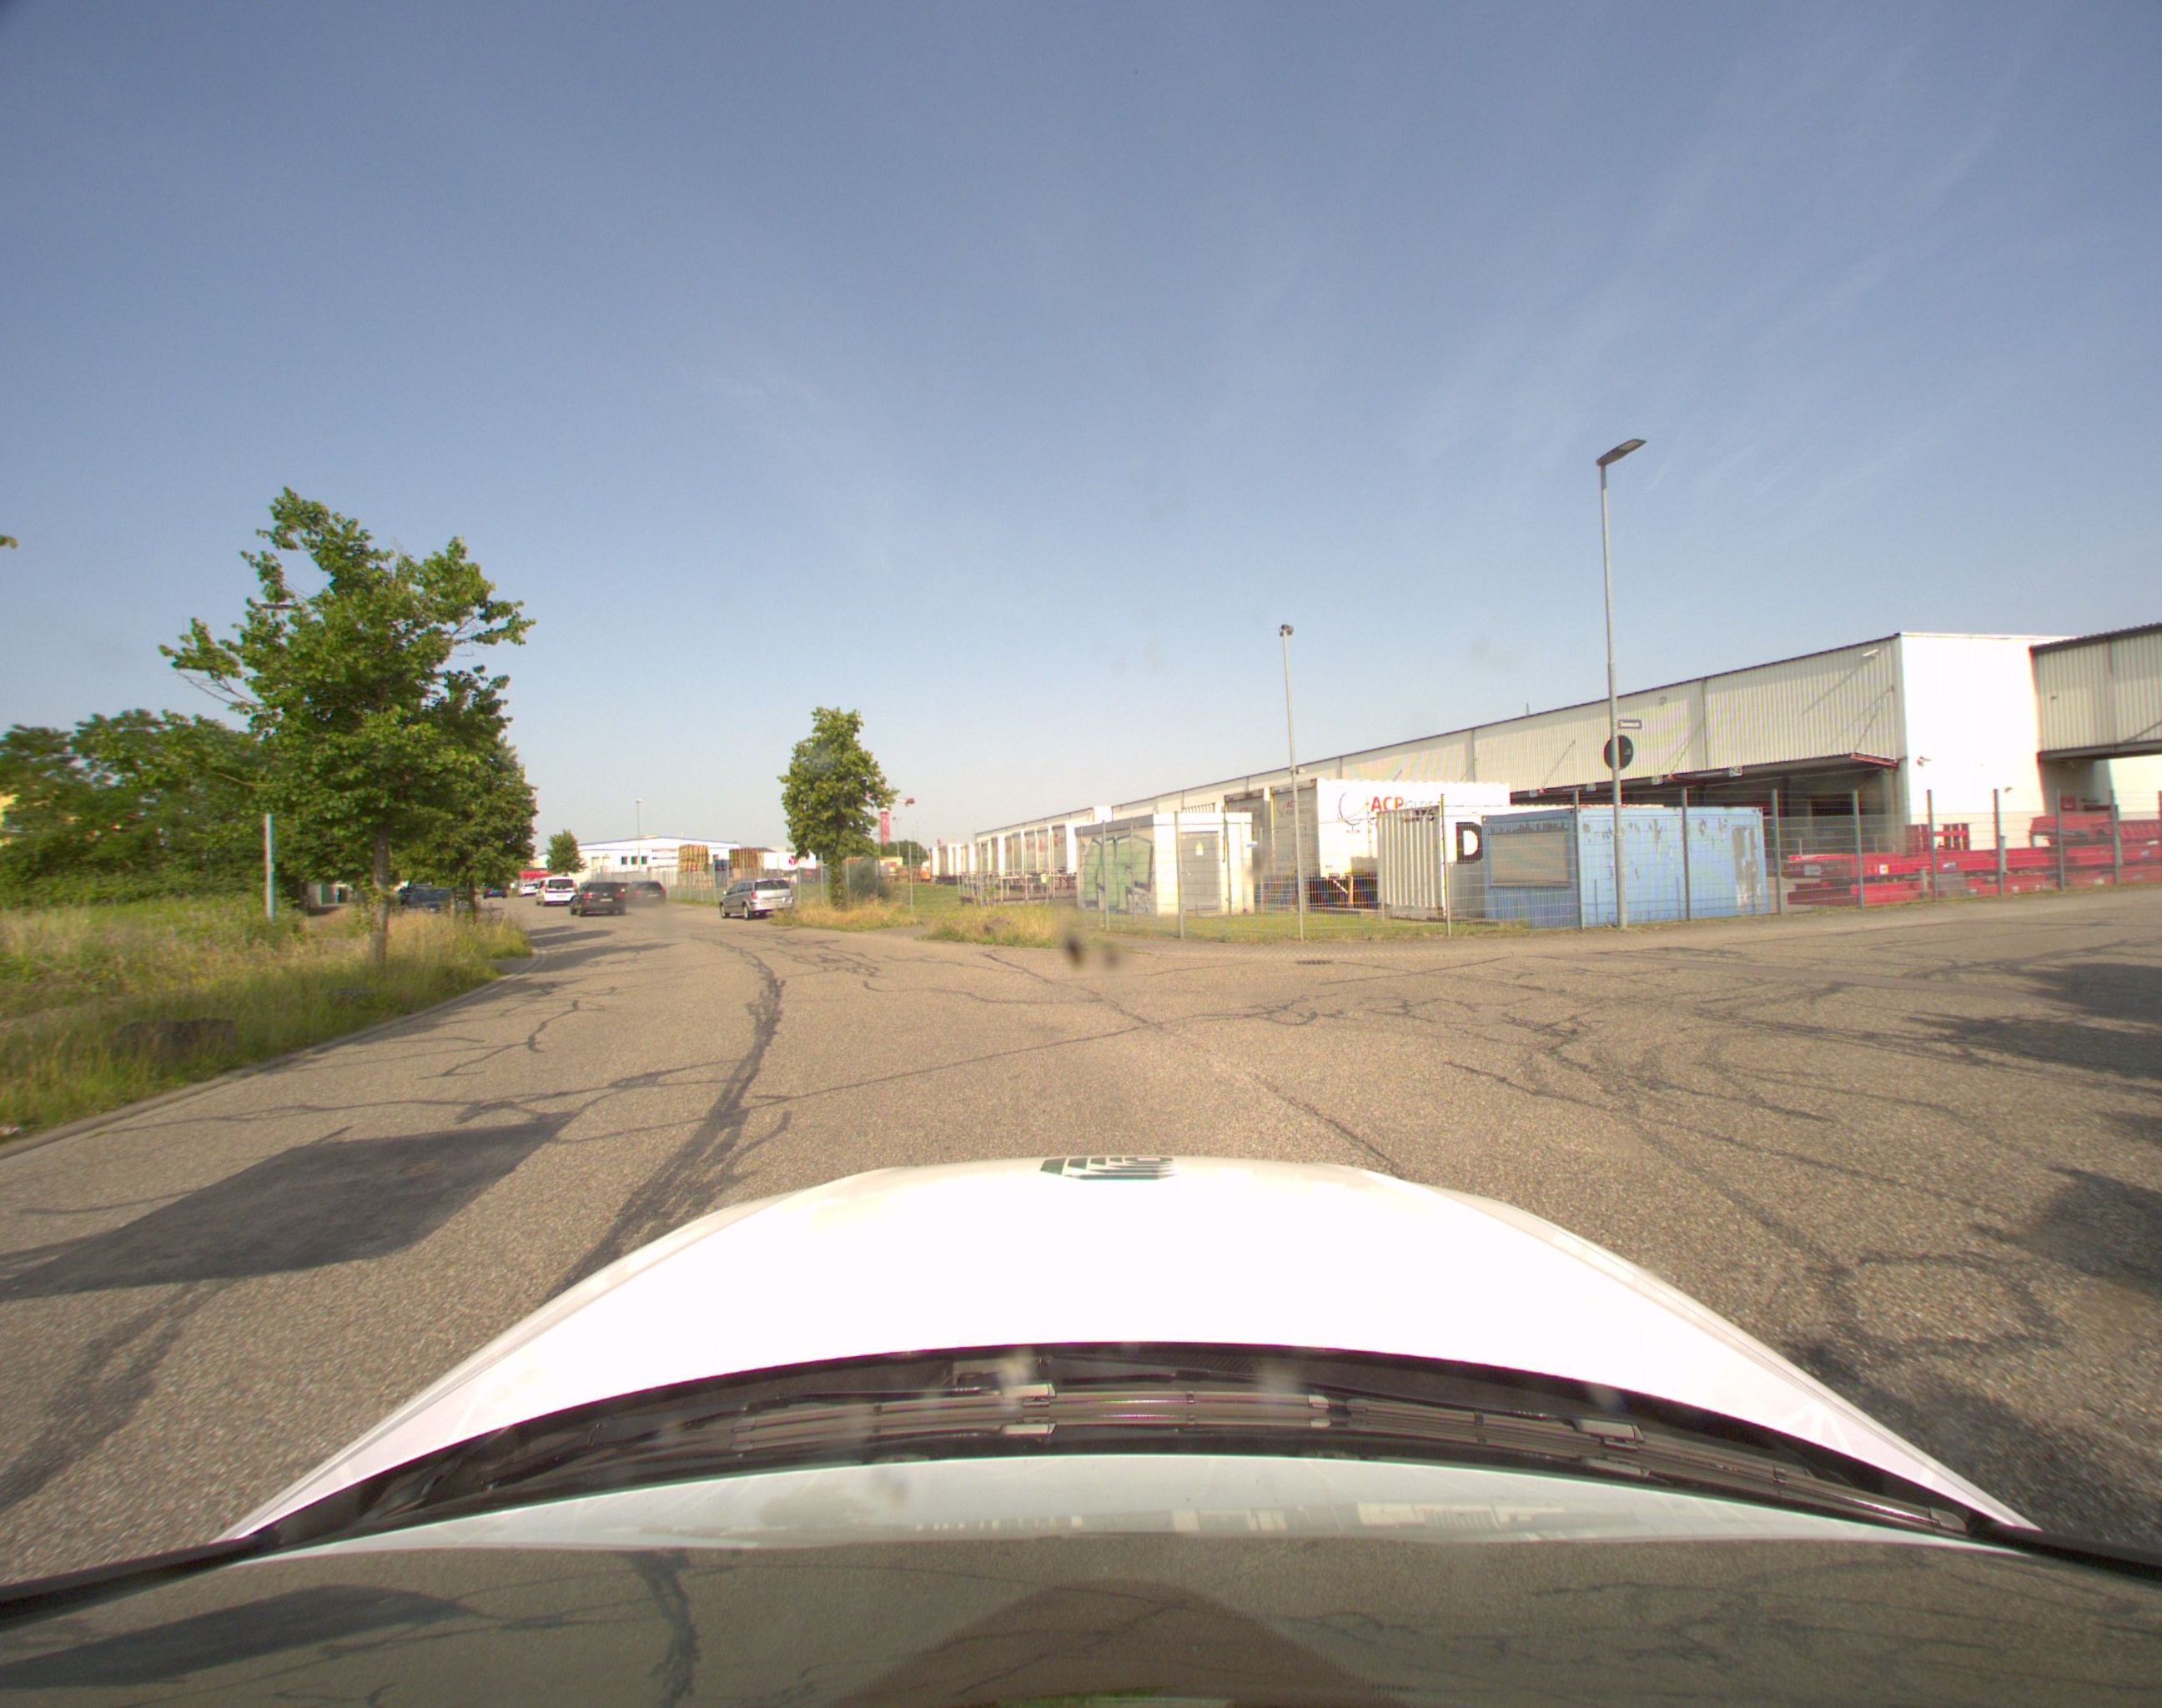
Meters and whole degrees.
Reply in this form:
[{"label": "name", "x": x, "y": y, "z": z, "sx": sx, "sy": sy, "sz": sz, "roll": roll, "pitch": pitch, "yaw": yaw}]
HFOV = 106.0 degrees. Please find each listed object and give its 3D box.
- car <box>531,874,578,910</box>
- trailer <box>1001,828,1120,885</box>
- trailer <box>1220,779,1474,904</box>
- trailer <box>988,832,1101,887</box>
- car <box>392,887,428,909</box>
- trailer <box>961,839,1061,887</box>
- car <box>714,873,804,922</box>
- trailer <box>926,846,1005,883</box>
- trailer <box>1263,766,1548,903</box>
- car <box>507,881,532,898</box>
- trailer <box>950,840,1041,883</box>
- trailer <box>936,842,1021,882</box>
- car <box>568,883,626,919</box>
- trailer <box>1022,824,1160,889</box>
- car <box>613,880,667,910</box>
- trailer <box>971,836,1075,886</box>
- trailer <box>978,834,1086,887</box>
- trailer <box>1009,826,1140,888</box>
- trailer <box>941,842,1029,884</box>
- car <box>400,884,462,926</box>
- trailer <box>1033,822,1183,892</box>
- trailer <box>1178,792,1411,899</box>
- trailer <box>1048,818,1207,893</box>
[{"label": "car", "x": -33.534, "y": 2.407, "z": 51.820, "sx": 2.138, "sy": 2.110, "sz": 4.572, "roll": -2, "pitch": -1, "yaw": -37}, {"label": "trailer", "x": -1.417, "y": 0.188, "z": 57.903, "sx": 8.064, "sy": 3.894, "sz": 2.755, "roll": 0, "pitch": -1, "yaw": -22}, {"label": "trailer", "x": 9.483, "y": -0.507, "z": 28.948, "sx": 8.566, "sy": 3.893, "sz": 2.757, "roll": -3, "pitch": -1, "yaw": -20}, {"label": "trailer", "x": -2.724, "y": 0.407, "z": 60.566, "sx": 7.993, "sy": 3.894, "sz": 2.755, "roll": 0, "pitch": -1, "yaw": -22}, {"label": "car", "x": -46.824, "y": 3.040, "z": 56.862, "sx": 1.848, "sy": 1.496, "sz": 4.002, "roll": 0, "pitch": -2, "yaw": -39}, {"label": "trailer", "x": -5.938, "y": 0.778, "z": 69.184, "sx": 7.993, "sy": 3.894, "sz": 2.755, "roll": 0, "pitch": -1, "yaw": -22}, {"label": "car", "x": -12.497, "y": 1.644, "z": 31.479, "sx": 1.814, "sy": 1.626, "sz": 4.396, "roll": -4, "pitch": 1, "yaw": -41}, {"label": "trailer", "x": -12.280, "y": 1.119, "z": 86.769, "sx": 7.993, "sy": 3.894, "sz": 2.723, "roll": 0, "pitch": -1, "yaw": -22}, {"label": "trailer", "x": 10.356, "y": -0.612, "z": 25.985, "sx": 8.563, "sy": 3.894, "sz": 2.757, "roll": -2, "pitch": -3, "yaw": -20}, {"label": "car", "x": -58.942, "y": 3.748, "z": 85.433, "sx": 1.730, "sy": 1.680, "sz": 3.902, "roll": -1, "pitch": -1, "yaw": -41}, {"label": "trailer", "x": -7.911, "y": 0.682, "z": 75.390, "sx": 7.993, "sy": 3.894, "sz": 2.755, "roll": 0, "pitch": -1, "yaw": -22}, {"label": "trailer", "x": -10.174, "y": 0.767, "z": 81.188, "sx": 7.993, "sy": 3.894, "sz": 2.755, "roll": 0, "pitch": -1, "yaw": -22}, {"label": "car", "x": -23.383, "y": 2.237, "z": 39.291, "sx": 1.896, "sy": 1.586, "sz": 4.066, "roll": -2, "pitch": -1, "yaw": -37}, {"label": "trailer", "x": 0.652, "y": 0.158, "z": 51.222, "sx": 8.339, "sy": 3.894, "sz": 2.755, "roll": 0, "pitch": -1, "yaw": -22}, {"label": "car", "x": -25.374, "y": 2.347, "z": 46.791, "sx": 1.730, "sy": 1.515, "sz": 3.955, "roll": -4, "pitch": 1, "yaw": -42}, {"label": "trailer", "x": -4.678, "y": 0.571, "z": 66.159, "sx": 7.993, "sy": 3.894, "sz": 2.755, "roll": 0, "pitch": -1, "yaw": -22}, {"label": "trailer", "x": -3.779, "y": 0.499, "z": 63.371, "sx": 7.993, "sy": 3.894, "sz": 2.755, "roll": 0, "pitch": -1, "yaw": -22}, {"label": "trailer", "x": -0.412, "y": 0.216, "z": 54.071, "sx": 8.339, "sy": 3.894, "sz": 2.755, "roll": 0, "pitch": -1, "yaw": -22}, {"label": "trailer", "x": -9.217, "y": 0.879, "z": 78.409, "sx": 7.993, "sy": 3.894, "sz": 2.755, "roll": 0, "pitch": -1, "yaw": -22}, {"label": "car", "x": -27.361, "y": 2.097, "z": 34.267, "sx": 1.918, "sy": 1.626, "sz": 4.397, "roll": 0, "pitch": -2, "yaw": -39}, {"label": "trailer", "x": 1.616, "y": 0.173, "z": 48.396, "sx": 8.569, "sy": 3.894, "sz": 2.755, "roll": 0, "pitch": -1, "yaw": -22}, {"label": "trailer", "x": 8.356, "y": -0.350, "z": 31.738, "sx": 8.765, "sy": 3.761, "sz": 2.770, "roll": -1, "pitch": -2, "yaw": -22}, {"label": "trailer", "x": 2.618, "y": 0.110, "z": 45.456, "sx": 8.569, "sy": 3.894, "sz": 2.755, "roll": 0, "pitch": -1, "yaw": -22}]
